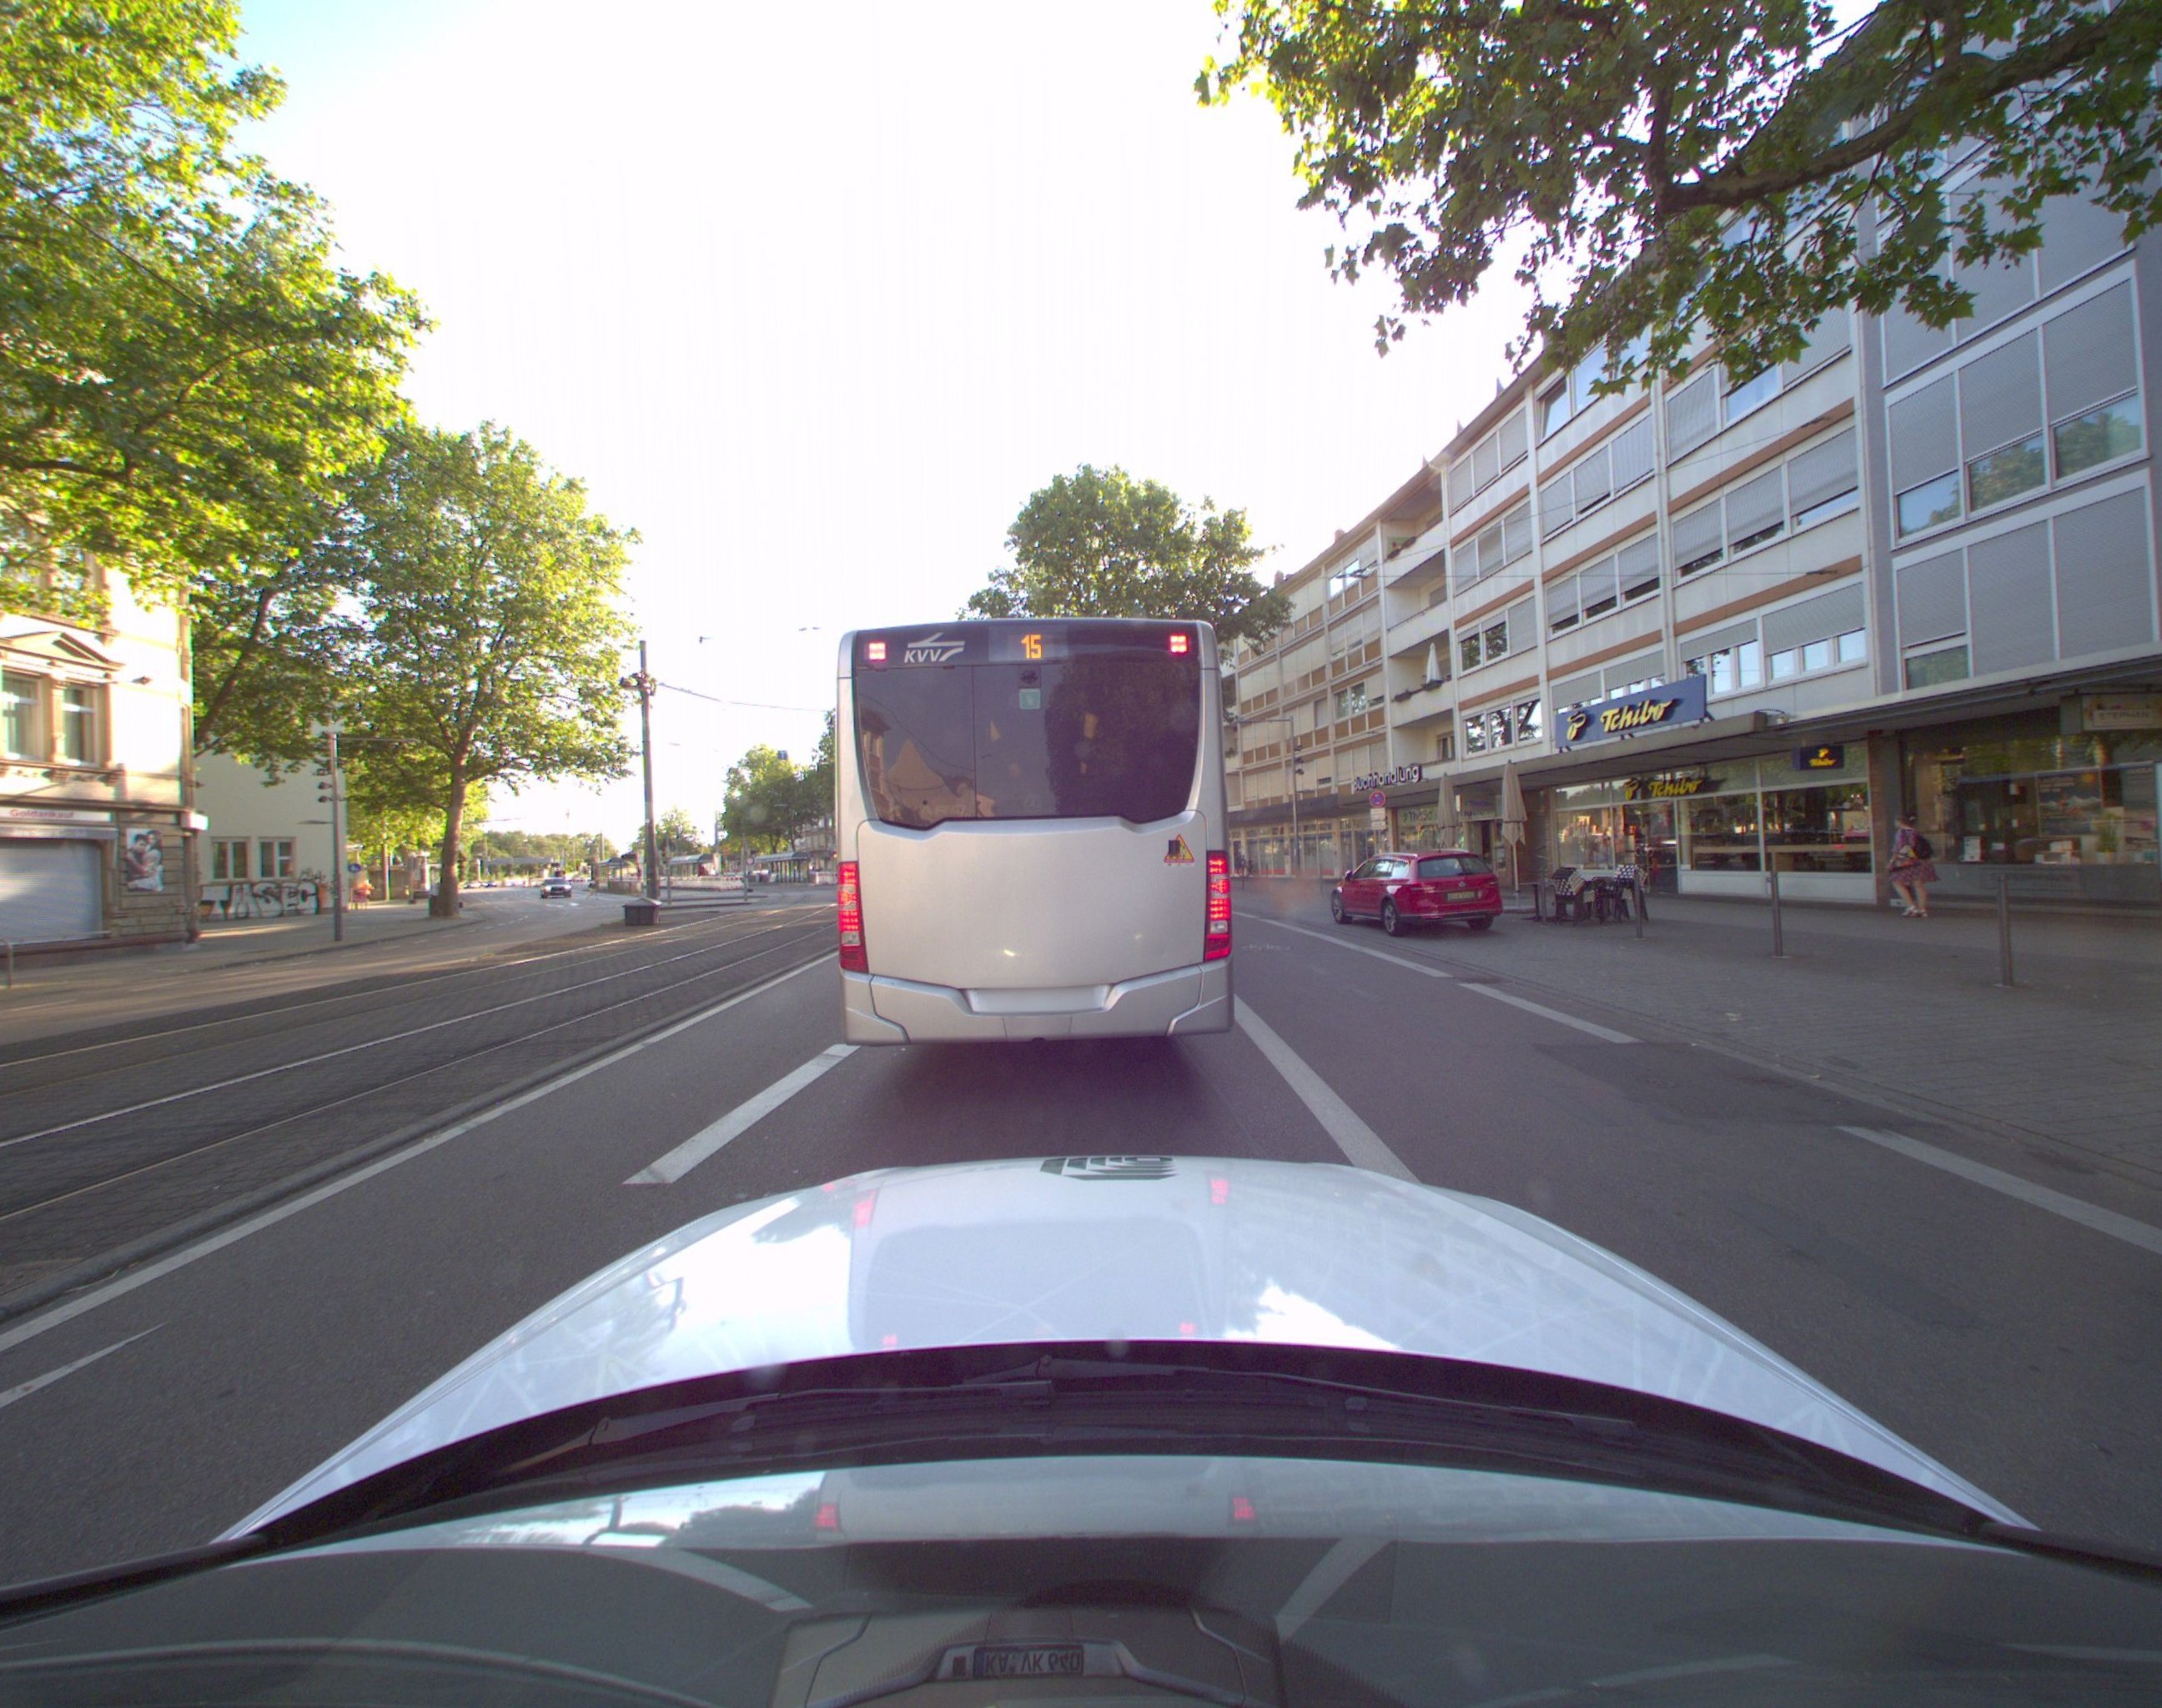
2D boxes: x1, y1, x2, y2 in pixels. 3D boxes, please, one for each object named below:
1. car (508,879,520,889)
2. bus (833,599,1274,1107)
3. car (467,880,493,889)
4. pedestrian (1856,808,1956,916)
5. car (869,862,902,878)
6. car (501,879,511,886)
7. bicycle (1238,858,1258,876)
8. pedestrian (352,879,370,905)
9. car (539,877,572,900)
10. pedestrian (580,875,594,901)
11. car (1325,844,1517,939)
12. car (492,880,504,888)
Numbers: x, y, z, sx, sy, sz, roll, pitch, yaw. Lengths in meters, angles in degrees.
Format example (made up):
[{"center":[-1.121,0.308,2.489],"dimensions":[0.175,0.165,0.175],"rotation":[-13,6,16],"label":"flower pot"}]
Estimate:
[{"center":[-111.439,5.880,160.022],"dimensions":[1.858,1.684,3.677],"rotation":[-4,1,-35],"label":"car"},{"center":[-0.151,0.016,9.926],"dimensions":[2.622,3.028,9.995],"rotation":[-1,0,0],"label":"bus"},{"center":[-122.659,6.303,166.146],"dimensions":[1.768,1.640,4.024],"rotation":[-3,-1,44],"label":"car"},{"center":[12.837,0.120,12.691],"dimensions":[0.649,1.592,0.788],"rotation":[-4,-1,-4],"label":"pedestrian"},{"center":[-21.321,1.739,88.553],"dimensions":[2.010,1.792,3.954],"rotation":[0,-1,-39],"label":"car"},{"center":[-130.083,6.451,184.202],"dimensions":[1.858,1.684,3.676],"rotation":[-2,-1,-35],"label":"car"},{"center":[9.314,0.719,45.520],"dimensions":[0.413,0.945,1.431],"rotation":[-2,-1,-18],"label":"bicycle"},{"center":[-43.882,2.319,49.643],"dimensions":[0.487,1.513,0.614],"rotation":[-3,0,25],"label":"pedestrian"},{"center":[-40.053,2.604,62.075],"dimensions":[2.008,1.640,3.958],"rotation":[-2,-1,-33],"label":"car"},{"center":[-33.331,2.294,54.949],"dimensions":[0.661,1.656,0.438],"rotation":[-2,-1,-41],"label":"pedestrian"},{"center":[6.363,0.641,15.833],"dimensions":[1.765,1.482,4.300],"rotation":[-3,0,-2],"label":"car"},{"center":[-117.820,6.067,164.683],"dimensions":[1.858,1.684,3.676],"rotation":[-2,-1,-35],"label":"car"}]
